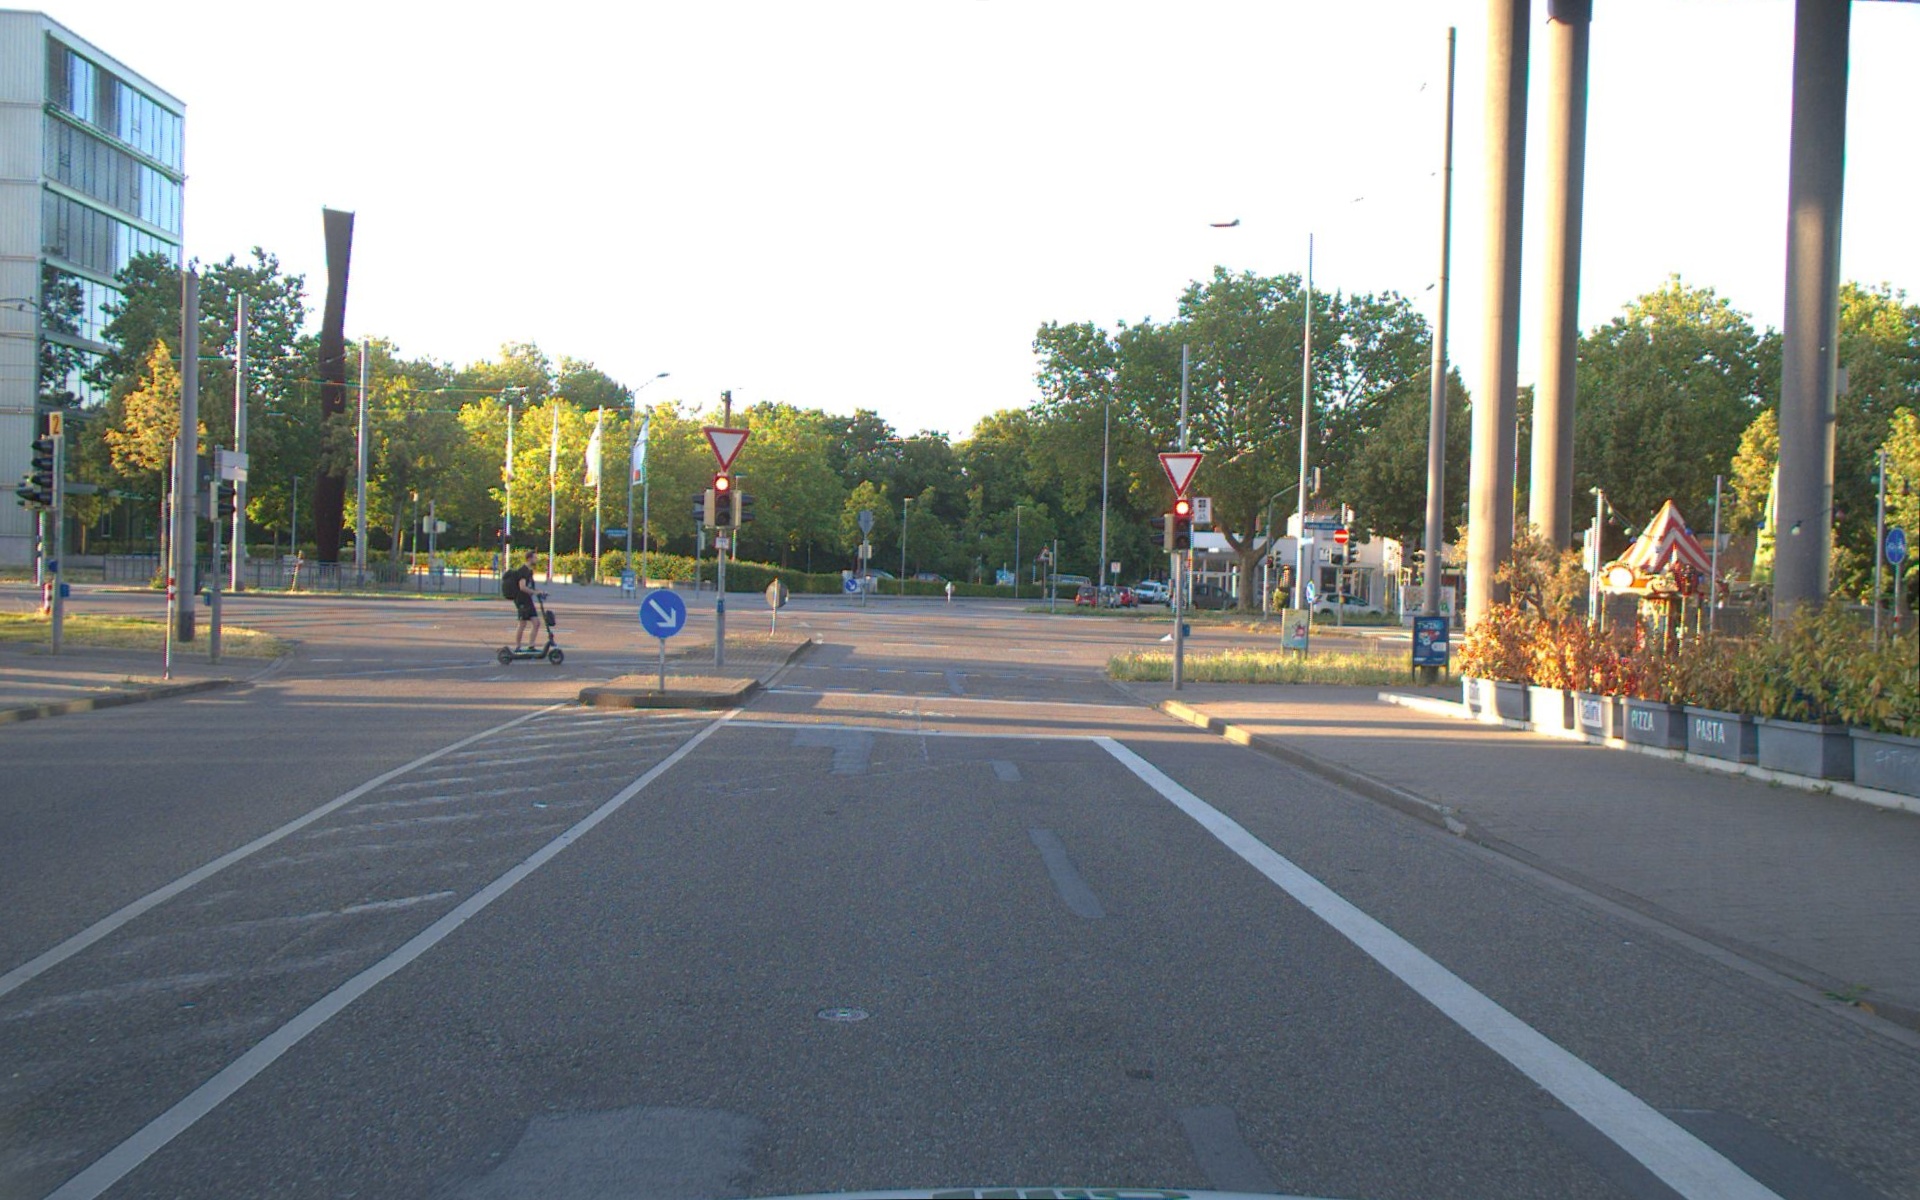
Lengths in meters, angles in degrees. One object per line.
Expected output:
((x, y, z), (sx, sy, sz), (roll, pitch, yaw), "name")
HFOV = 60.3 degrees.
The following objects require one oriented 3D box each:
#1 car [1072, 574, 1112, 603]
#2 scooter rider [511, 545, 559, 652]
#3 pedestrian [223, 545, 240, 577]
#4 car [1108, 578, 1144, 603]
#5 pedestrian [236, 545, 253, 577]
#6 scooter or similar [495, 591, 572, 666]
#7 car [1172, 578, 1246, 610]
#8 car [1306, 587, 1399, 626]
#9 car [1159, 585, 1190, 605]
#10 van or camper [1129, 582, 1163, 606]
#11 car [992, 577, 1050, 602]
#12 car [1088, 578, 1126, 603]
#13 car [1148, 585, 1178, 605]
((8.740, -0.771, 109.403), (1.467, 1.791, 3.401), (2, 2, 25), "car")
((-7.269, -0.031, 28.294), (0.692, 1.813, 0.442), (1, 1, -5), "scooter rider")
((-46.336, -2.485, 105.197), (0.681, 2.048, 0.699), (2, 1, 18), "pedestrian")
((11.727, -0.673, 116.785), (1.467, 1.634, 3.401), (2, 2, 25), "car")
((-45.980, -2.527, 106.292), (0.681, 2.048, 0.699), (2, 1, 18), "pedestrian")
((-7.293, 0.484, 28.297), (1.189, 1.221, 0.503), (1, 1, -5), "scooter or similar")
((15.459, -0.391, 102.743), (4.373, 1.848, 1.946), (2, 2, 4), "car")
((20.380, 0.337, 85.993), (4.375, 1.848, 1.945), (2, 2, 1), "car")
((16.697, -0.395, 128.836), (1.467, 1.503, 3.082), (2, 2, 25), "car")
((16.269, -0.573, 144.482), (1.594, 2.016, 3.801), (2, 2, 29), "van or camper")
((5.066, -0.880, 136.176), (4.585, 1.901, 2.014), (2, 2, 5), "car")
((10.087, -0.690, 113.097), (1.467, 1.634, 3.401), (2, 2, 25), "car")
((18.210, -0.460, 148.244), (1.469, 1.634, 3.398), (2, 2, 29), "car")
